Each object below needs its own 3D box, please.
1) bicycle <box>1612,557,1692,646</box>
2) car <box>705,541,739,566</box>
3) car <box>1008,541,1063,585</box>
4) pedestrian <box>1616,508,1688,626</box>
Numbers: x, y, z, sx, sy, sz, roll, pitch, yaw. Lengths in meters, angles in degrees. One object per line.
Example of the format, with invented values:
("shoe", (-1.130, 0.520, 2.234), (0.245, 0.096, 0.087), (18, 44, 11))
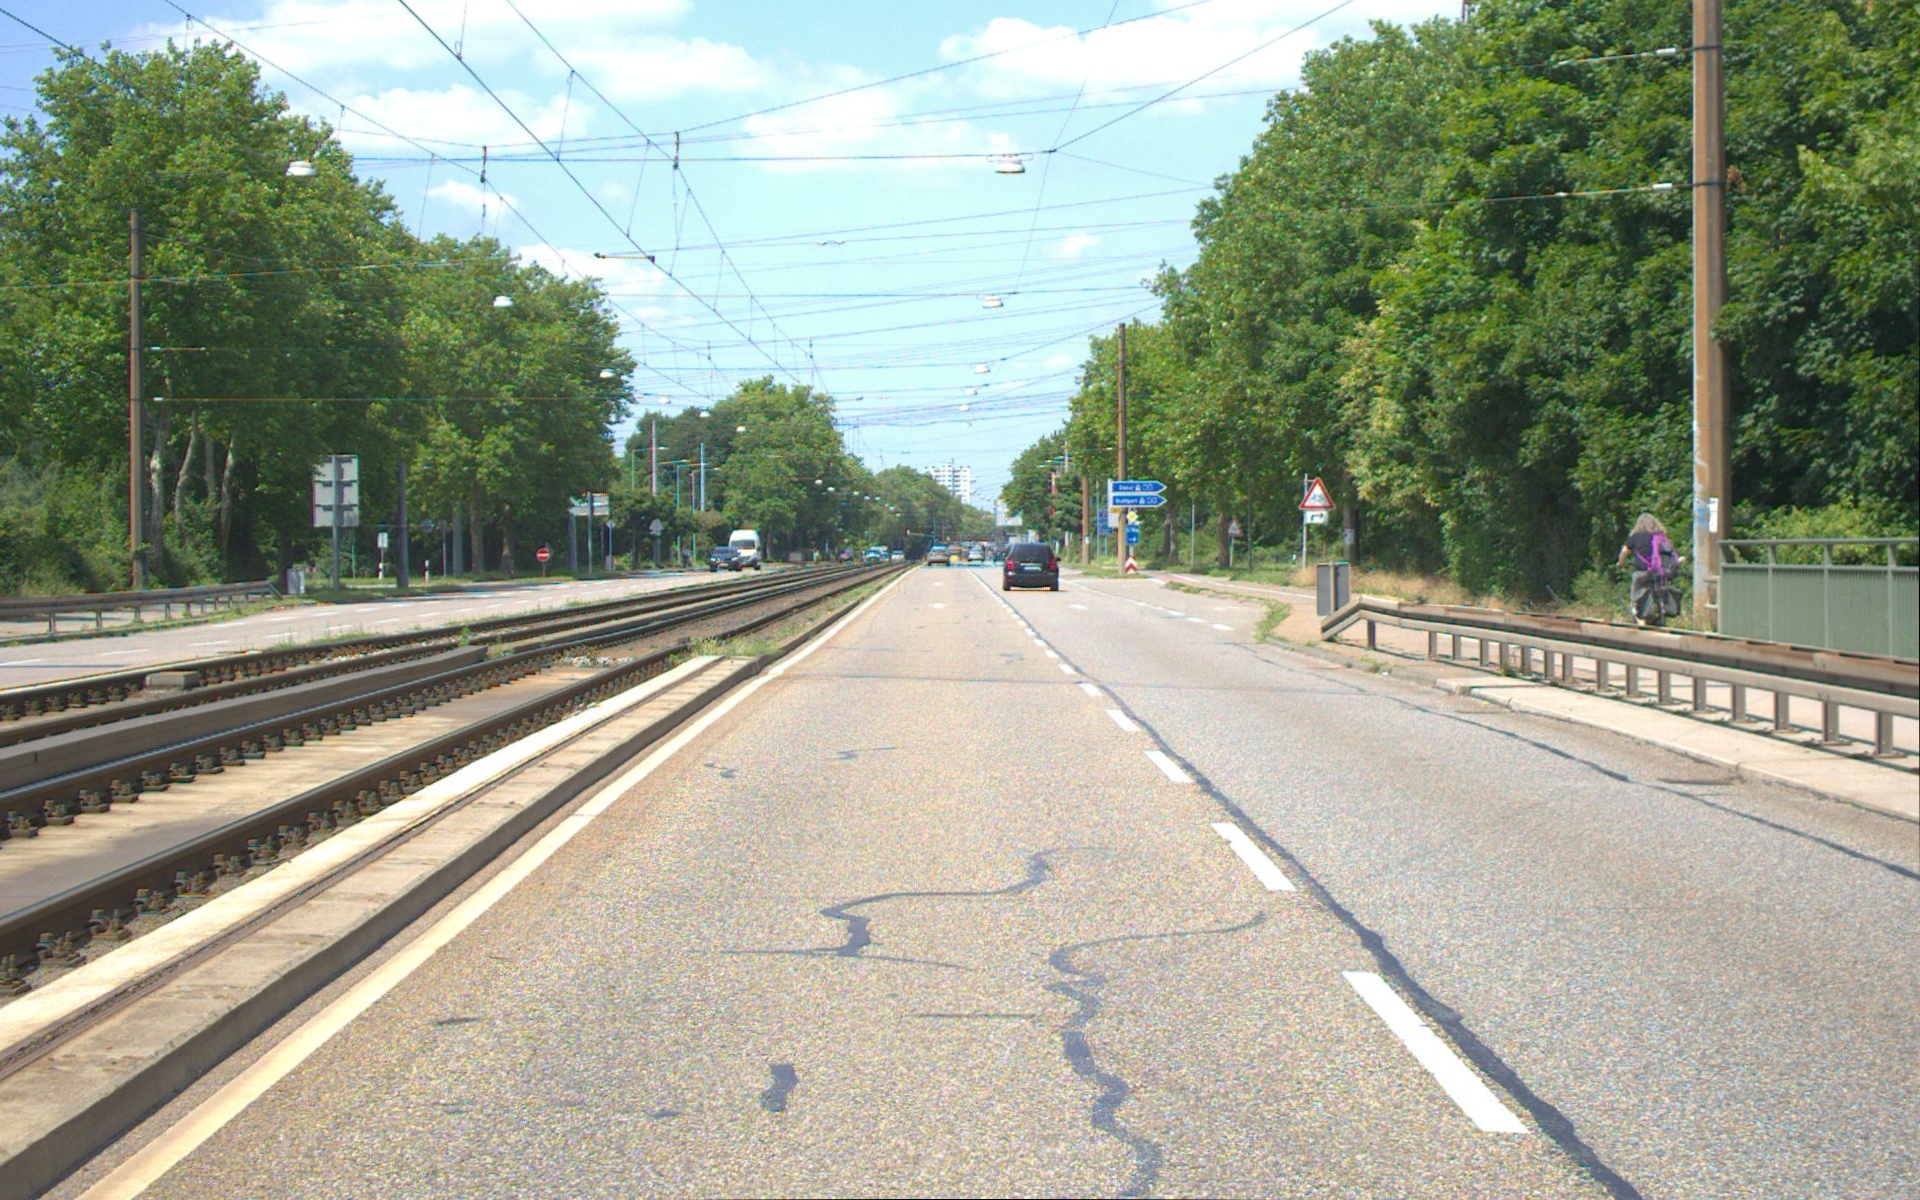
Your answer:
("bicycle", (8.145, 0.007, 40.510), (0.559, 1.021, 1.848), (-1, 1, 0))
("car", (-14.707, -2.897, 212.735), (1.817, 1.509, 4.428), (-1, 1, 0))
("car", (2.428, -1.210, 110.923), (1.586, 1.338, 3.273), (-1, 2, -2))
("pedestrian", (8.152, -0.387, 40.549), (0.628, 1.369, 1.050), (-1, 1, 0))
